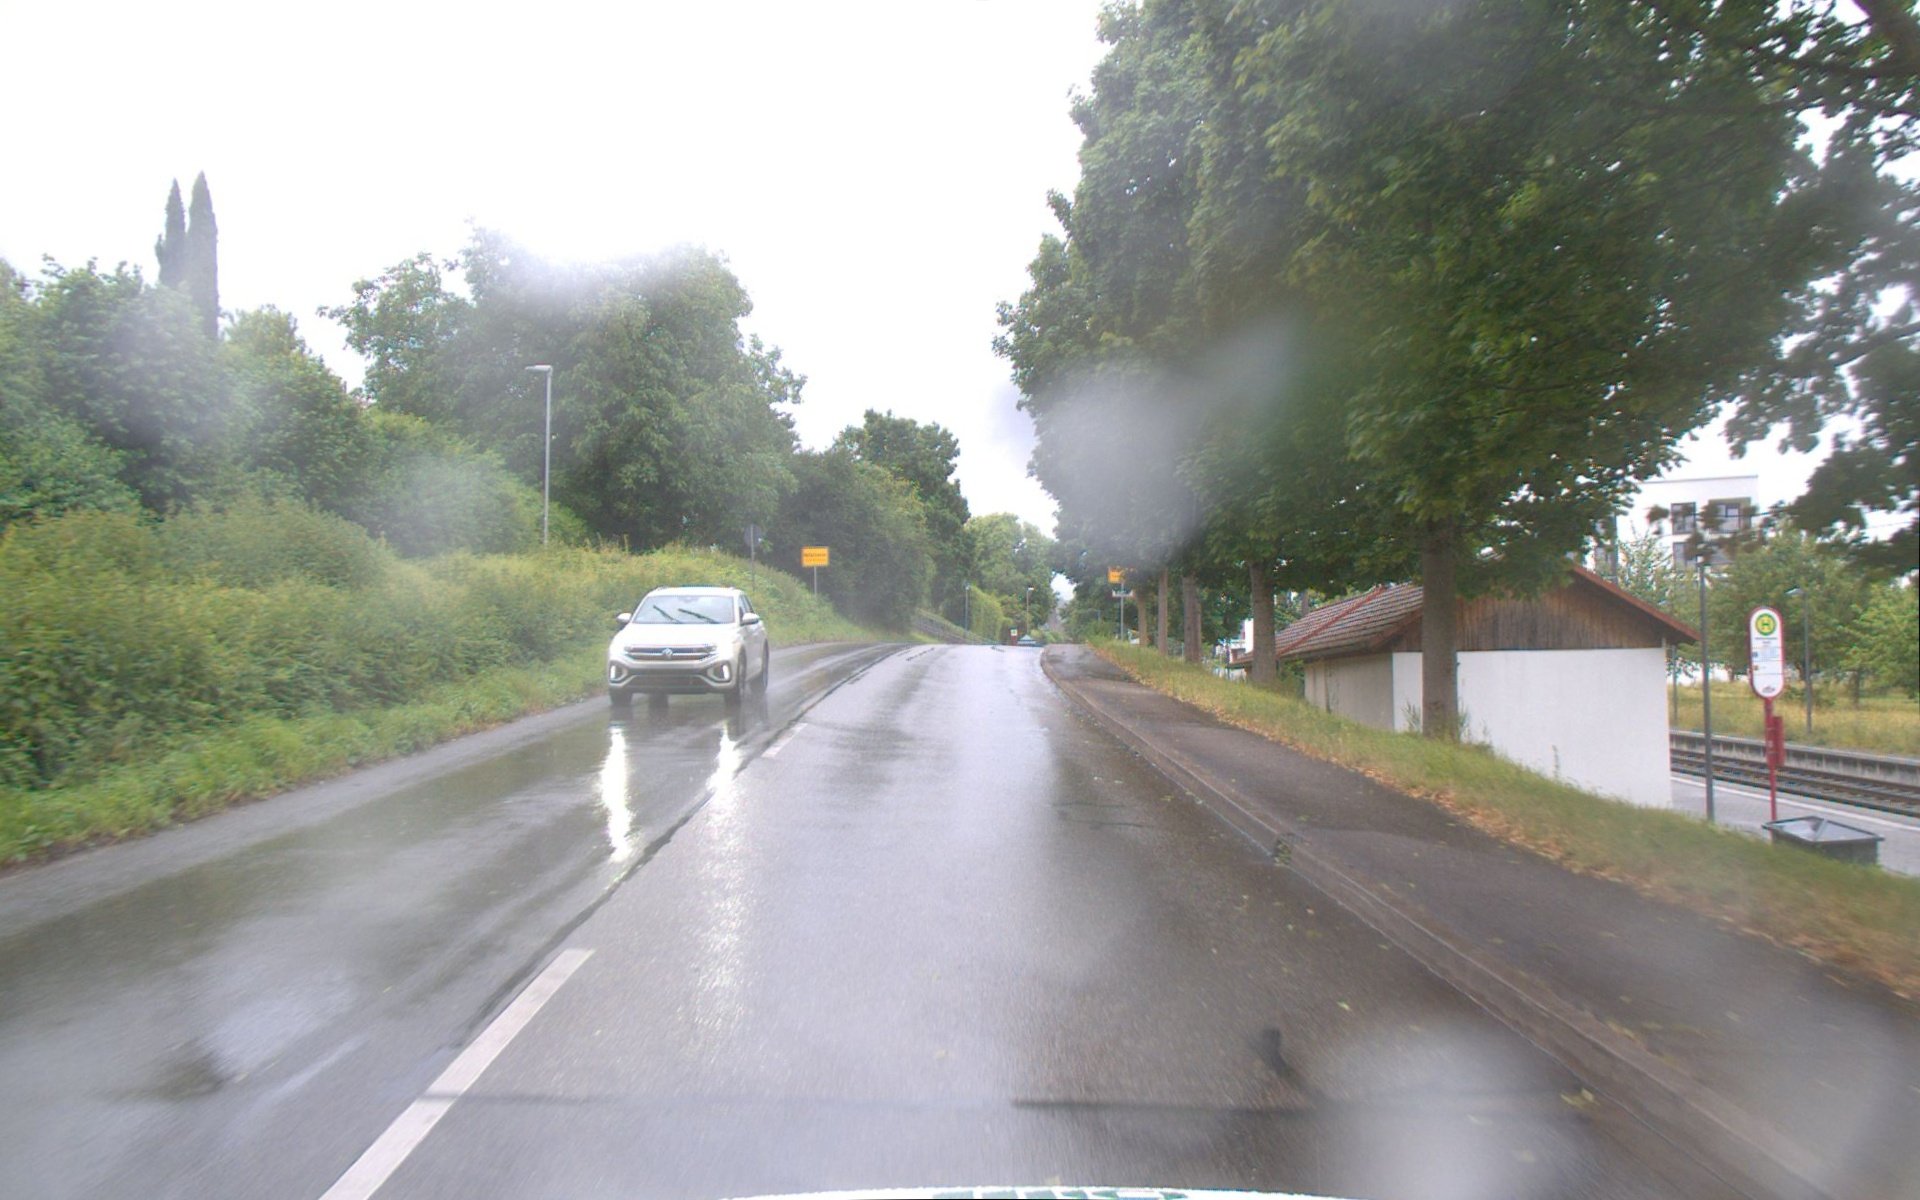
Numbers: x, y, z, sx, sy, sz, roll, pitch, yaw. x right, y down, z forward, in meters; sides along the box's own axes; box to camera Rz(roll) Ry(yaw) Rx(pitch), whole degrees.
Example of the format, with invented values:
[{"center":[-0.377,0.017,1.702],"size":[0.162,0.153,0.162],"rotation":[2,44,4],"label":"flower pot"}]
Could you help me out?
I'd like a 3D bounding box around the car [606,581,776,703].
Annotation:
[{"center":[-3.673,0.517,23.233],"size":[1.745,1.531,4.000],"rotation":[0,1,0],"label":"car"}]
